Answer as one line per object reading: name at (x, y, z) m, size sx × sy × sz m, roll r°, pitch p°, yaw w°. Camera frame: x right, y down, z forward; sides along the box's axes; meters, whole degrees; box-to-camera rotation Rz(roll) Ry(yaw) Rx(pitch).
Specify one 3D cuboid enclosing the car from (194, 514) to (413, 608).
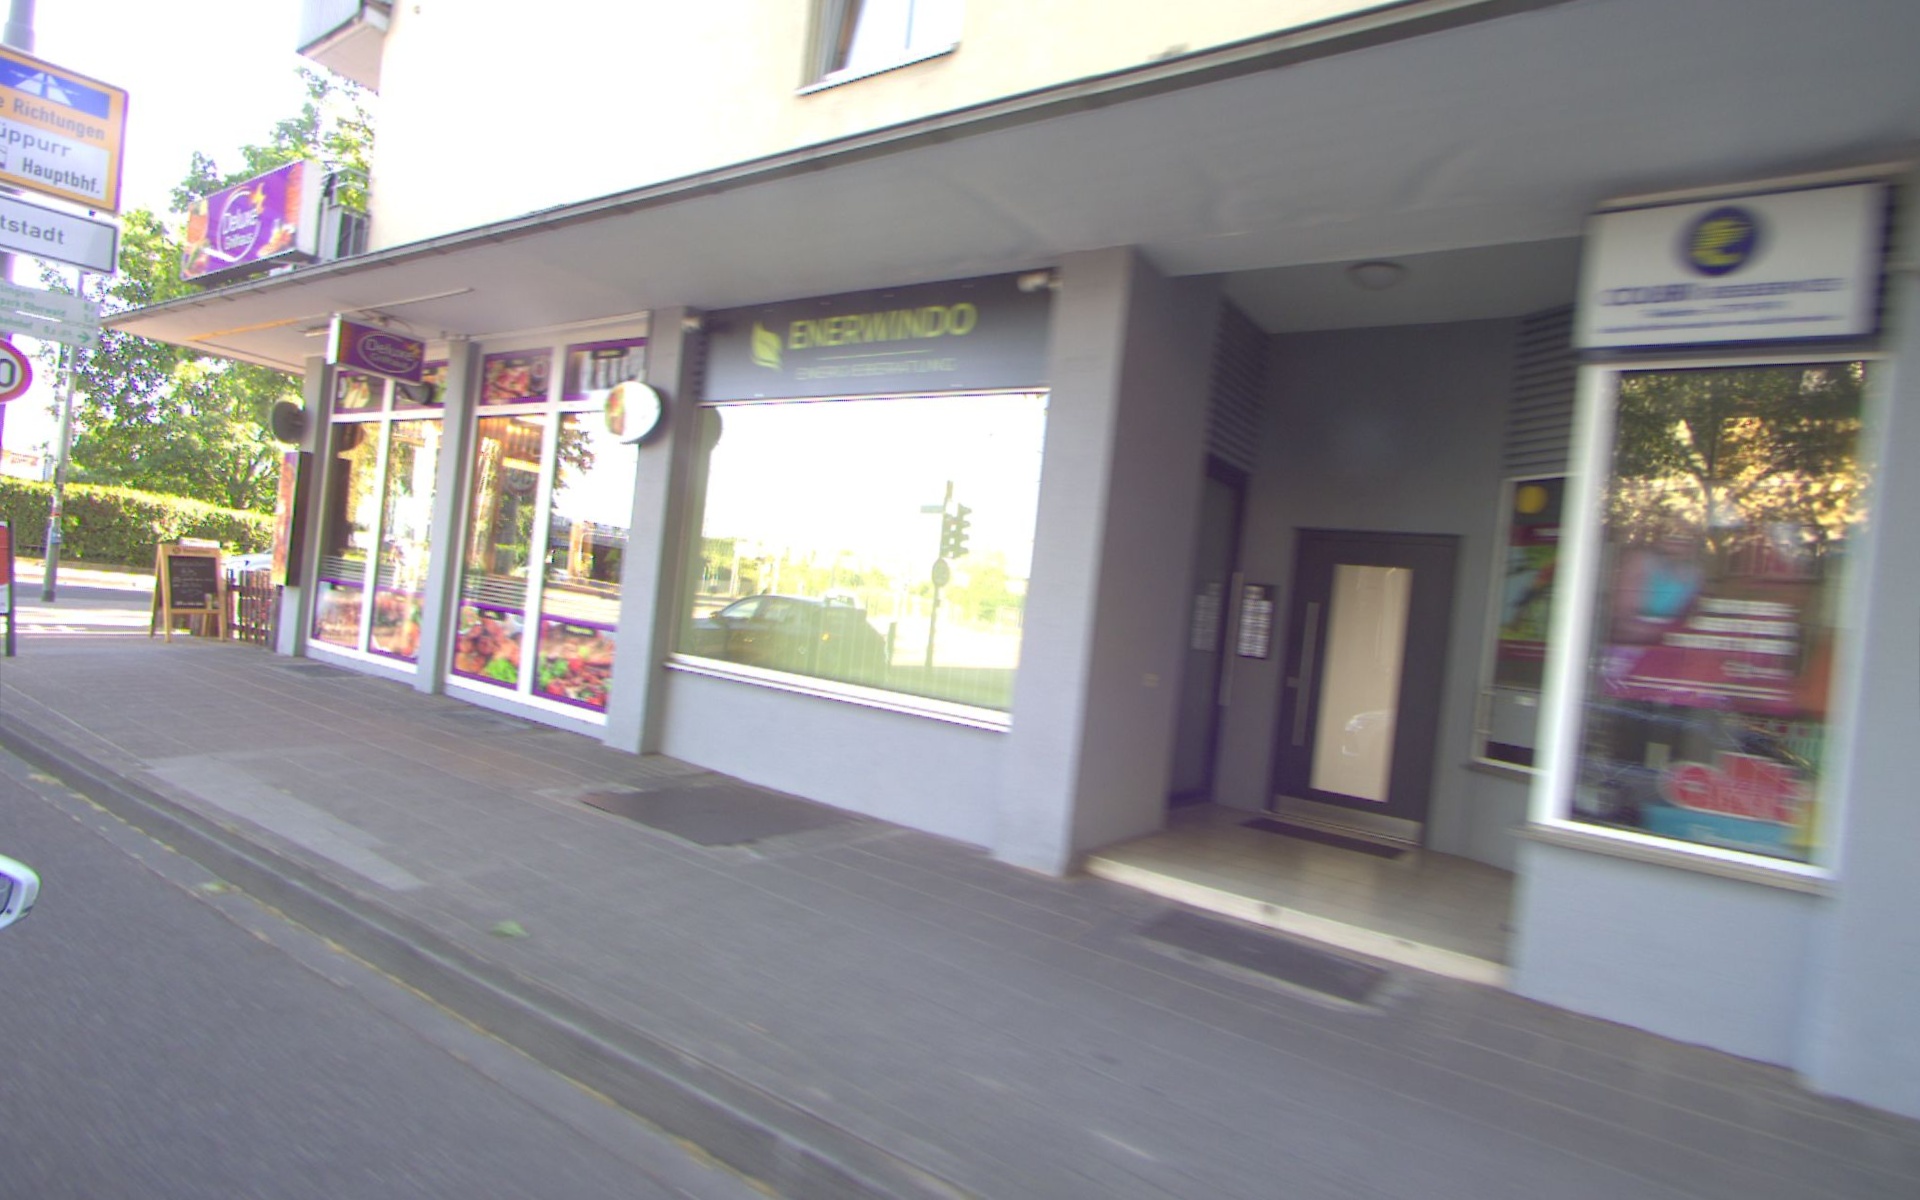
car at (-16.379, -0.908, 25.279) m, size 1.781 × 1.835 × 4.173 m, roll 2°, pitch -3°, yaw 39°

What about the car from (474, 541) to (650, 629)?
car at (-9.304, -0.361, 23.421) m, size 3.970 × 1.600 × 1.706 m, roll 6°, pitch -1°, yaw 33°
